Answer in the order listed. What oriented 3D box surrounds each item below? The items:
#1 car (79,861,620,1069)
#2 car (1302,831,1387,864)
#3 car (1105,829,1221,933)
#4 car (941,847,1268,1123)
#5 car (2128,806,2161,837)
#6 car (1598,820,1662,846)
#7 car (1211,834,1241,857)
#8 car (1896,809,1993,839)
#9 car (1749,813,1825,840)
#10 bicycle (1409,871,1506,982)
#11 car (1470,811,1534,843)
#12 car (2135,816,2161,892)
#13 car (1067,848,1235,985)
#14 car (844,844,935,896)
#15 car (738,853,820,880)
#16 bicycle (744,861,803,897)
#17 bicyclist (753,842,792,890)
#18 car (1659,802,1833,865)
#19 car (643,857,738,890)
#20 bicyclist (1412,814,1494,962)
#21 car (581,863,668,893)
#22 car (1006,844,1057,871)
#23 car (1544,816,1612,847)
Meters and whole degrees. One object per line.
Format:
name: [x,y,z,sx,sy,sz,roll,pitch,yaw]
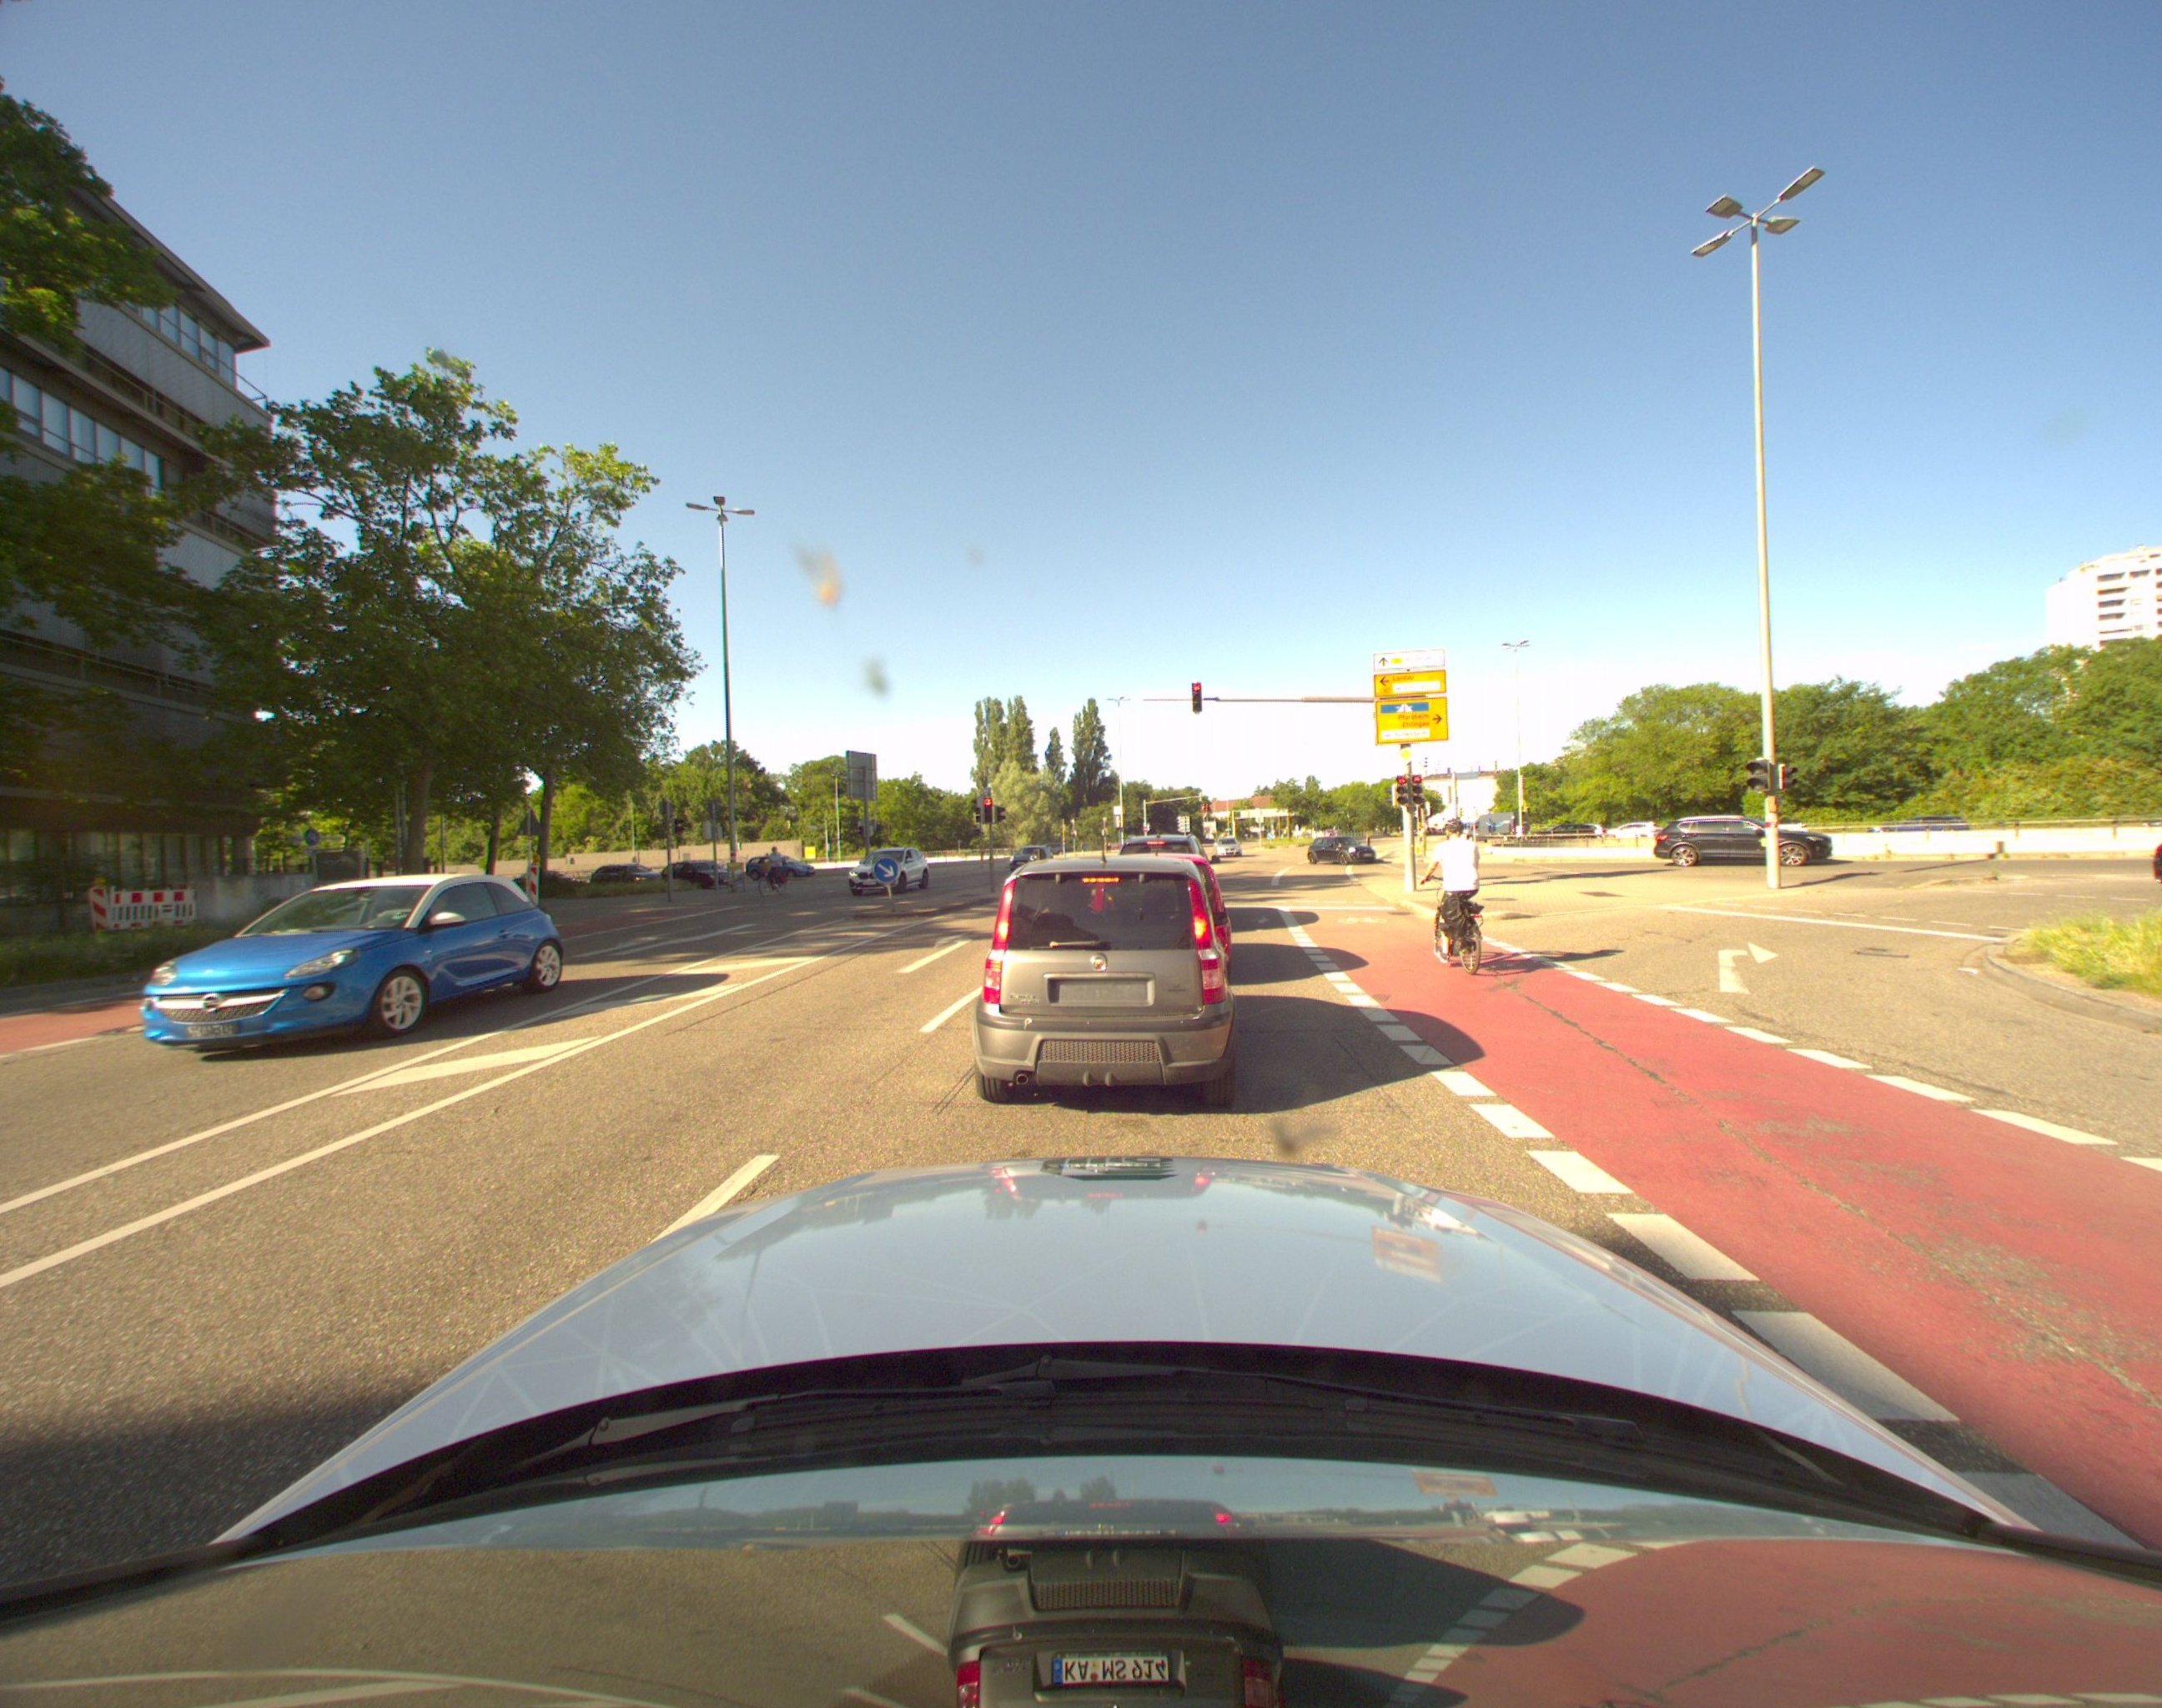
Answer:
car: [-7.135,0.907,8.782,1.815,1.503,4.448,-3,1,-2]
car: [13.080,-0.283,40.698,2.001,1.453,3.971,0,-2,-21]
car: [1.778,0.425,16.236,1.857,1.790,4.428,0,1,11]
car: [0.312,0.697,6.528,1.811,1.489,4.007,0,1,5]
car: [63.552,-1.946,46.674,3.948,1.662,2.012,-2,-2,38]
car: [43.042,-1.613,63.902,3.948,1.750,2.012,-2,-2,40]
car: [10.497,-0.631,59.195,1.742,1.493,4.357,-1,2,6]
car: [55.854,-1.930,52.808,3.948,1.662,2.013,-2,-2,36]
car: [49.698,-1.902,57.425,3.948,1.684,1.868,-2,-2,40]
bicycle: [4.514,0.798,9.919,0.793,1.111,2.413,0,0,18]
car: [37.954,-2.403,73.520,2.261,2.607,4.853,0,-2,-20]
car: [23.338,-0.063,15.547,3.969,1.493,1.759,-3,2,4]
car: [0.928,0.669,10.873,1.811,1.479,4.005,0,0,5]
car: [-6.890,0.513,29.876,1.825,1.653,4.635,-3,1,5]
car: [-18.837,0.767,50.851,4.405,1.438,1.833,-2,1,13]
bicycle: [-11.366,0.918,30.226,0.681,1.202,2.338,-2,1,18]
bicyclist: [-11.413,0.424,30.146,0.681,1.701,1.204,-2,1,18]
car: [22.183,-0.614,27.278,4.305,1.836,2.012,-3,-2,44]
car: [-19.620,0.987,40.929,4.396,1.438,1.836,-2,1,24]
bicyclist: [4.540,0.394,10.007,0.793,1.705,1.090,0,0,18]
car: [-24.935,1.332,44.491,4.396,1.438,1.836,-2,1,24]
car: [-2.899,0.176,48.168,1.673,1.456,3.932,-2,1,17]
car: [36.425,-1.602,59.768,3.948,2.014,2.012,-2,-2,40]
